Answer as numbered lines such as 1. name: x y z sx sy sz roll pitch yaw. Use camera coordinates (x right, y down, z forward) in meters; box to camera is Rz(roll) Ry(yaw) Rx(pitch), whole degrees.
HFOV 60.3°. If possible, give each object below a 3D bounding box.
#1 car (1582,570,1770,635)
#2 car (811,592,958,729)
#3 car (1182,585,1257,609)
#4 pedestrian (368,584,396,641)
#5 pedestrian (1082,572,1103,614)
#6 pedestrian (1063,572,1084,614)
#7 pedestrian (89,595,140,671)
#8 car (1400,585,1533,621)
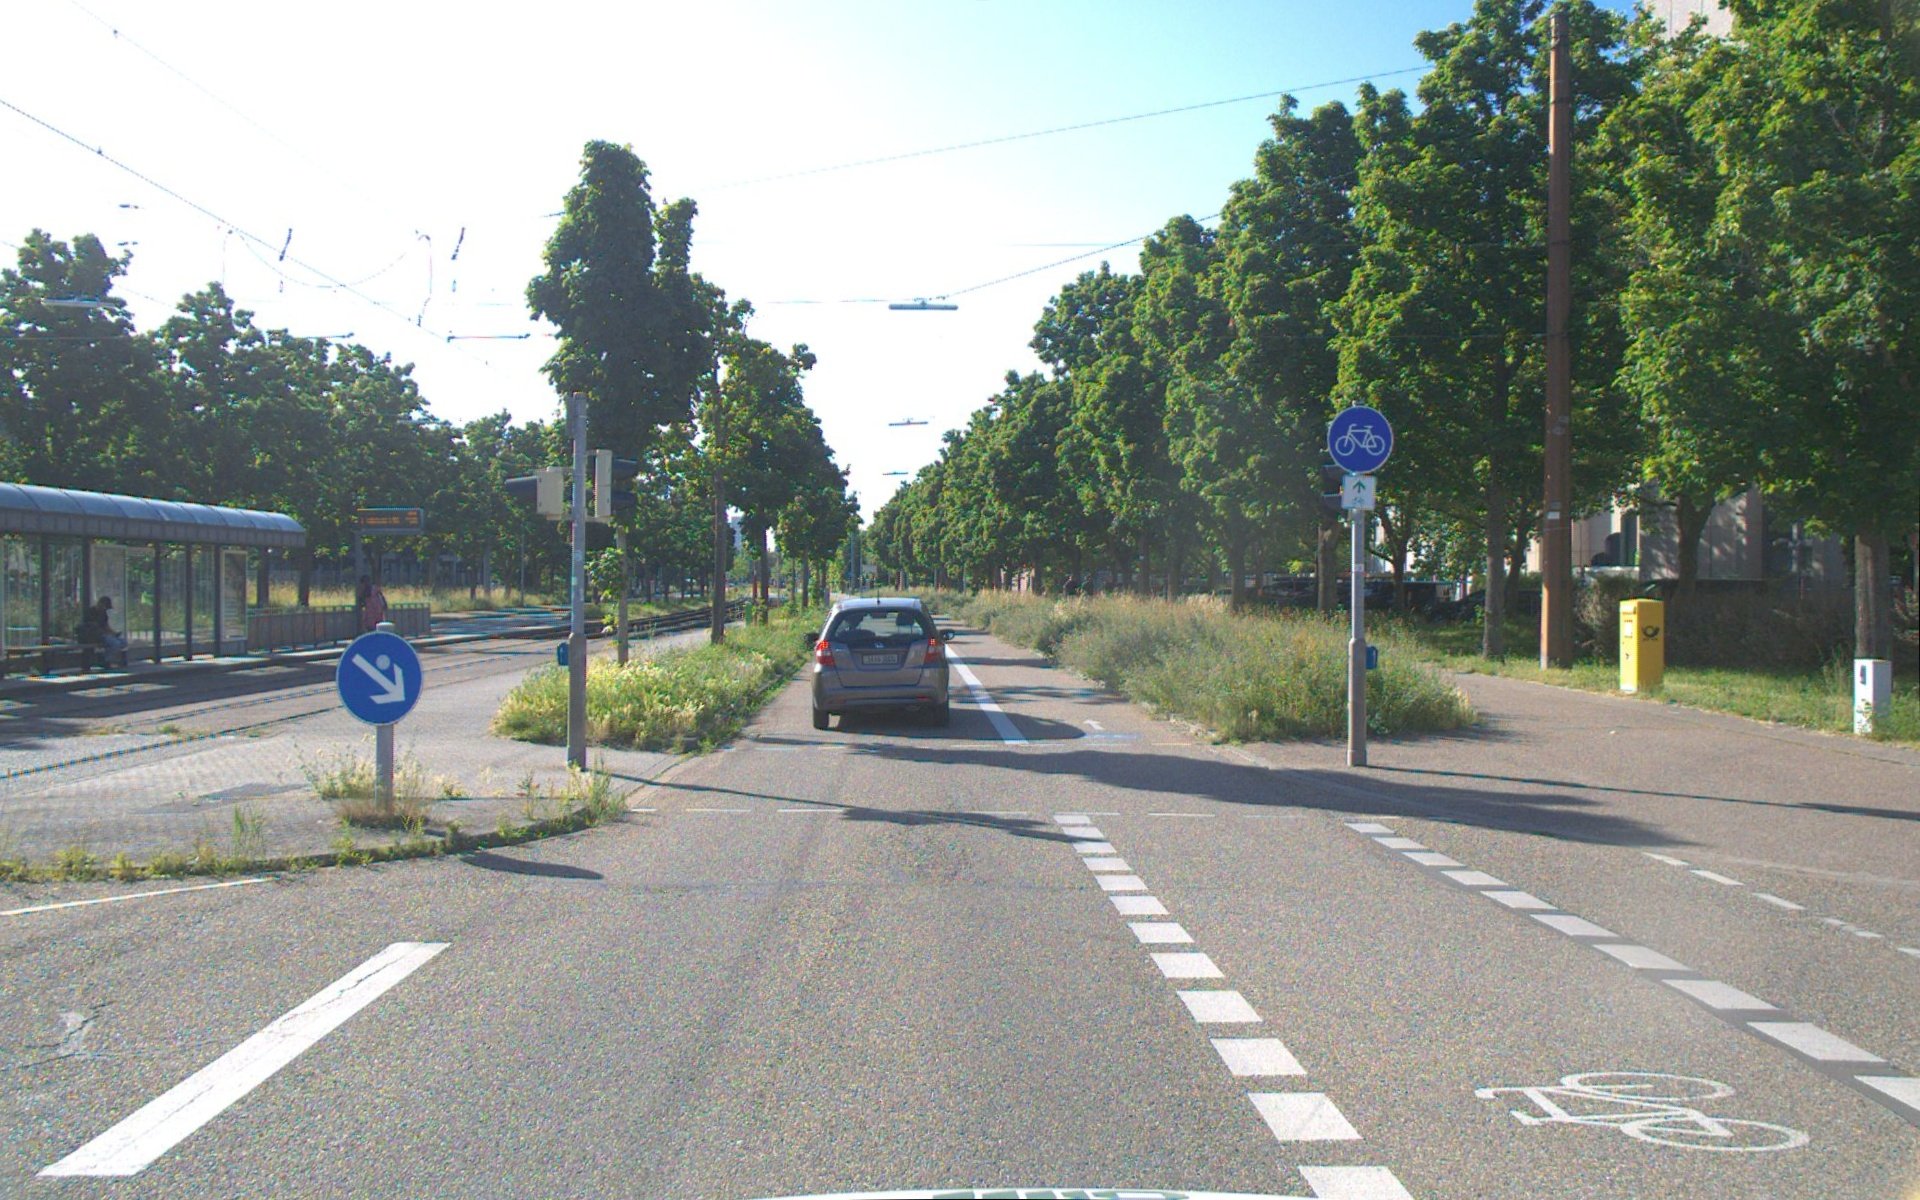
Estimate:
1. car: 21.196 0.119 49.053 4.841 1.834 1.811 -1 -2 37
2. car: -0.897 0.727 20.910 1.666 1.550 3.708 1 -1 -1
3. car: 16.929 -0.210 108.036 4.543 1.583 1.997 0 0 -7
4. pedestrian: -15.062 0.331 43.083 0.533 1.473 0.559 -1 -1 -1
5. pedestrian: 6.108 -0.313 76.392 0.864 1.917 0.874 0 0 -5
6. pedestrian: 5.221 -0.336 76.367 0.864 1.917 0.874 0 0 -5
7. pedestrian: -14.574 0.562 28.524 0.552 1.279 0.580 -2 -1 -2
8. car: 19.669 0.112 64.263 4.588 1.350 2.085 0 0 34
